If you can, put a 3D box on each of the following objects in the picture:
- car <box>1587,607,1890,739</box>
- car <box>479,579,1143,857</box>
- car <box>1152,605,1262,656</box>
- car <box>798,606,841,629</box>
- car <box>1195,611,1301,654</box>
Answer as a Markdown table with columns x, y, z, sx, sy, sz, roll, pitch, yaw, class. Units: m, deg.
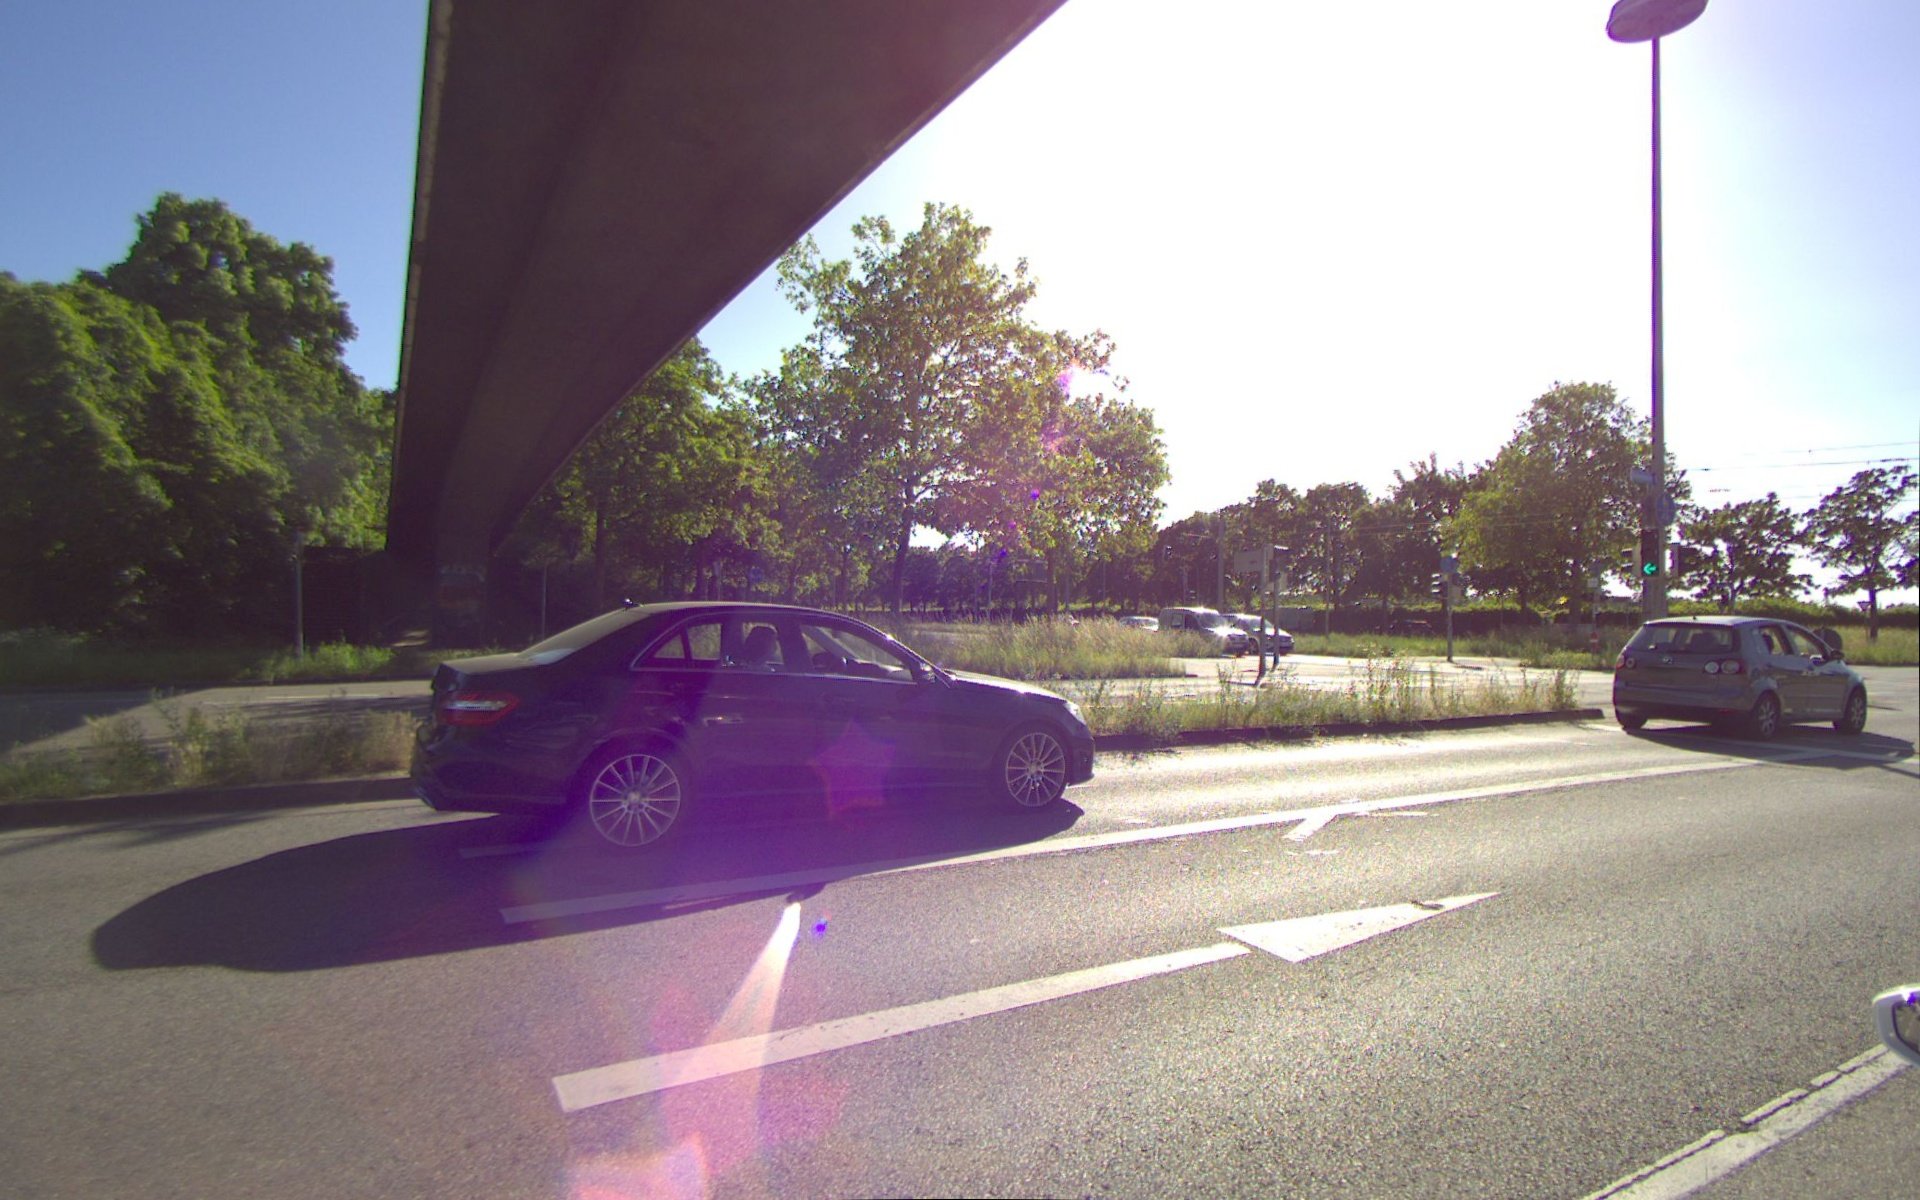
| x | y | z | sx | sy | sz | roll | pitch | yaw | class |
| --- | --- | --- | --- | --- | --- | --- | --- | --- | --- |
| 11.040 | 0.939 | 14.193 | 4.333 | 1.591 | 1.833 | 1 | 0 | -29 | car |
| -0.982 | 0.662 | 7.346 | 4.475 | 1.506 | 1.766 | 1 | 1 | -30 | car |
| 9.203 | 1.109 | 37.706 | 1.757 | 1.778 | 3.967 | 1 | -1 | -31 | car |
| -9.995 | 1.253 | 71.272 | 1.830 | 1.581 | 3.896 | 2 | -1 | -28 | car |
| 11.509 | 1.273 | 40.320 | 1.831 | 1.581 | 3.893 | 1 | -1 | -31 | car |
